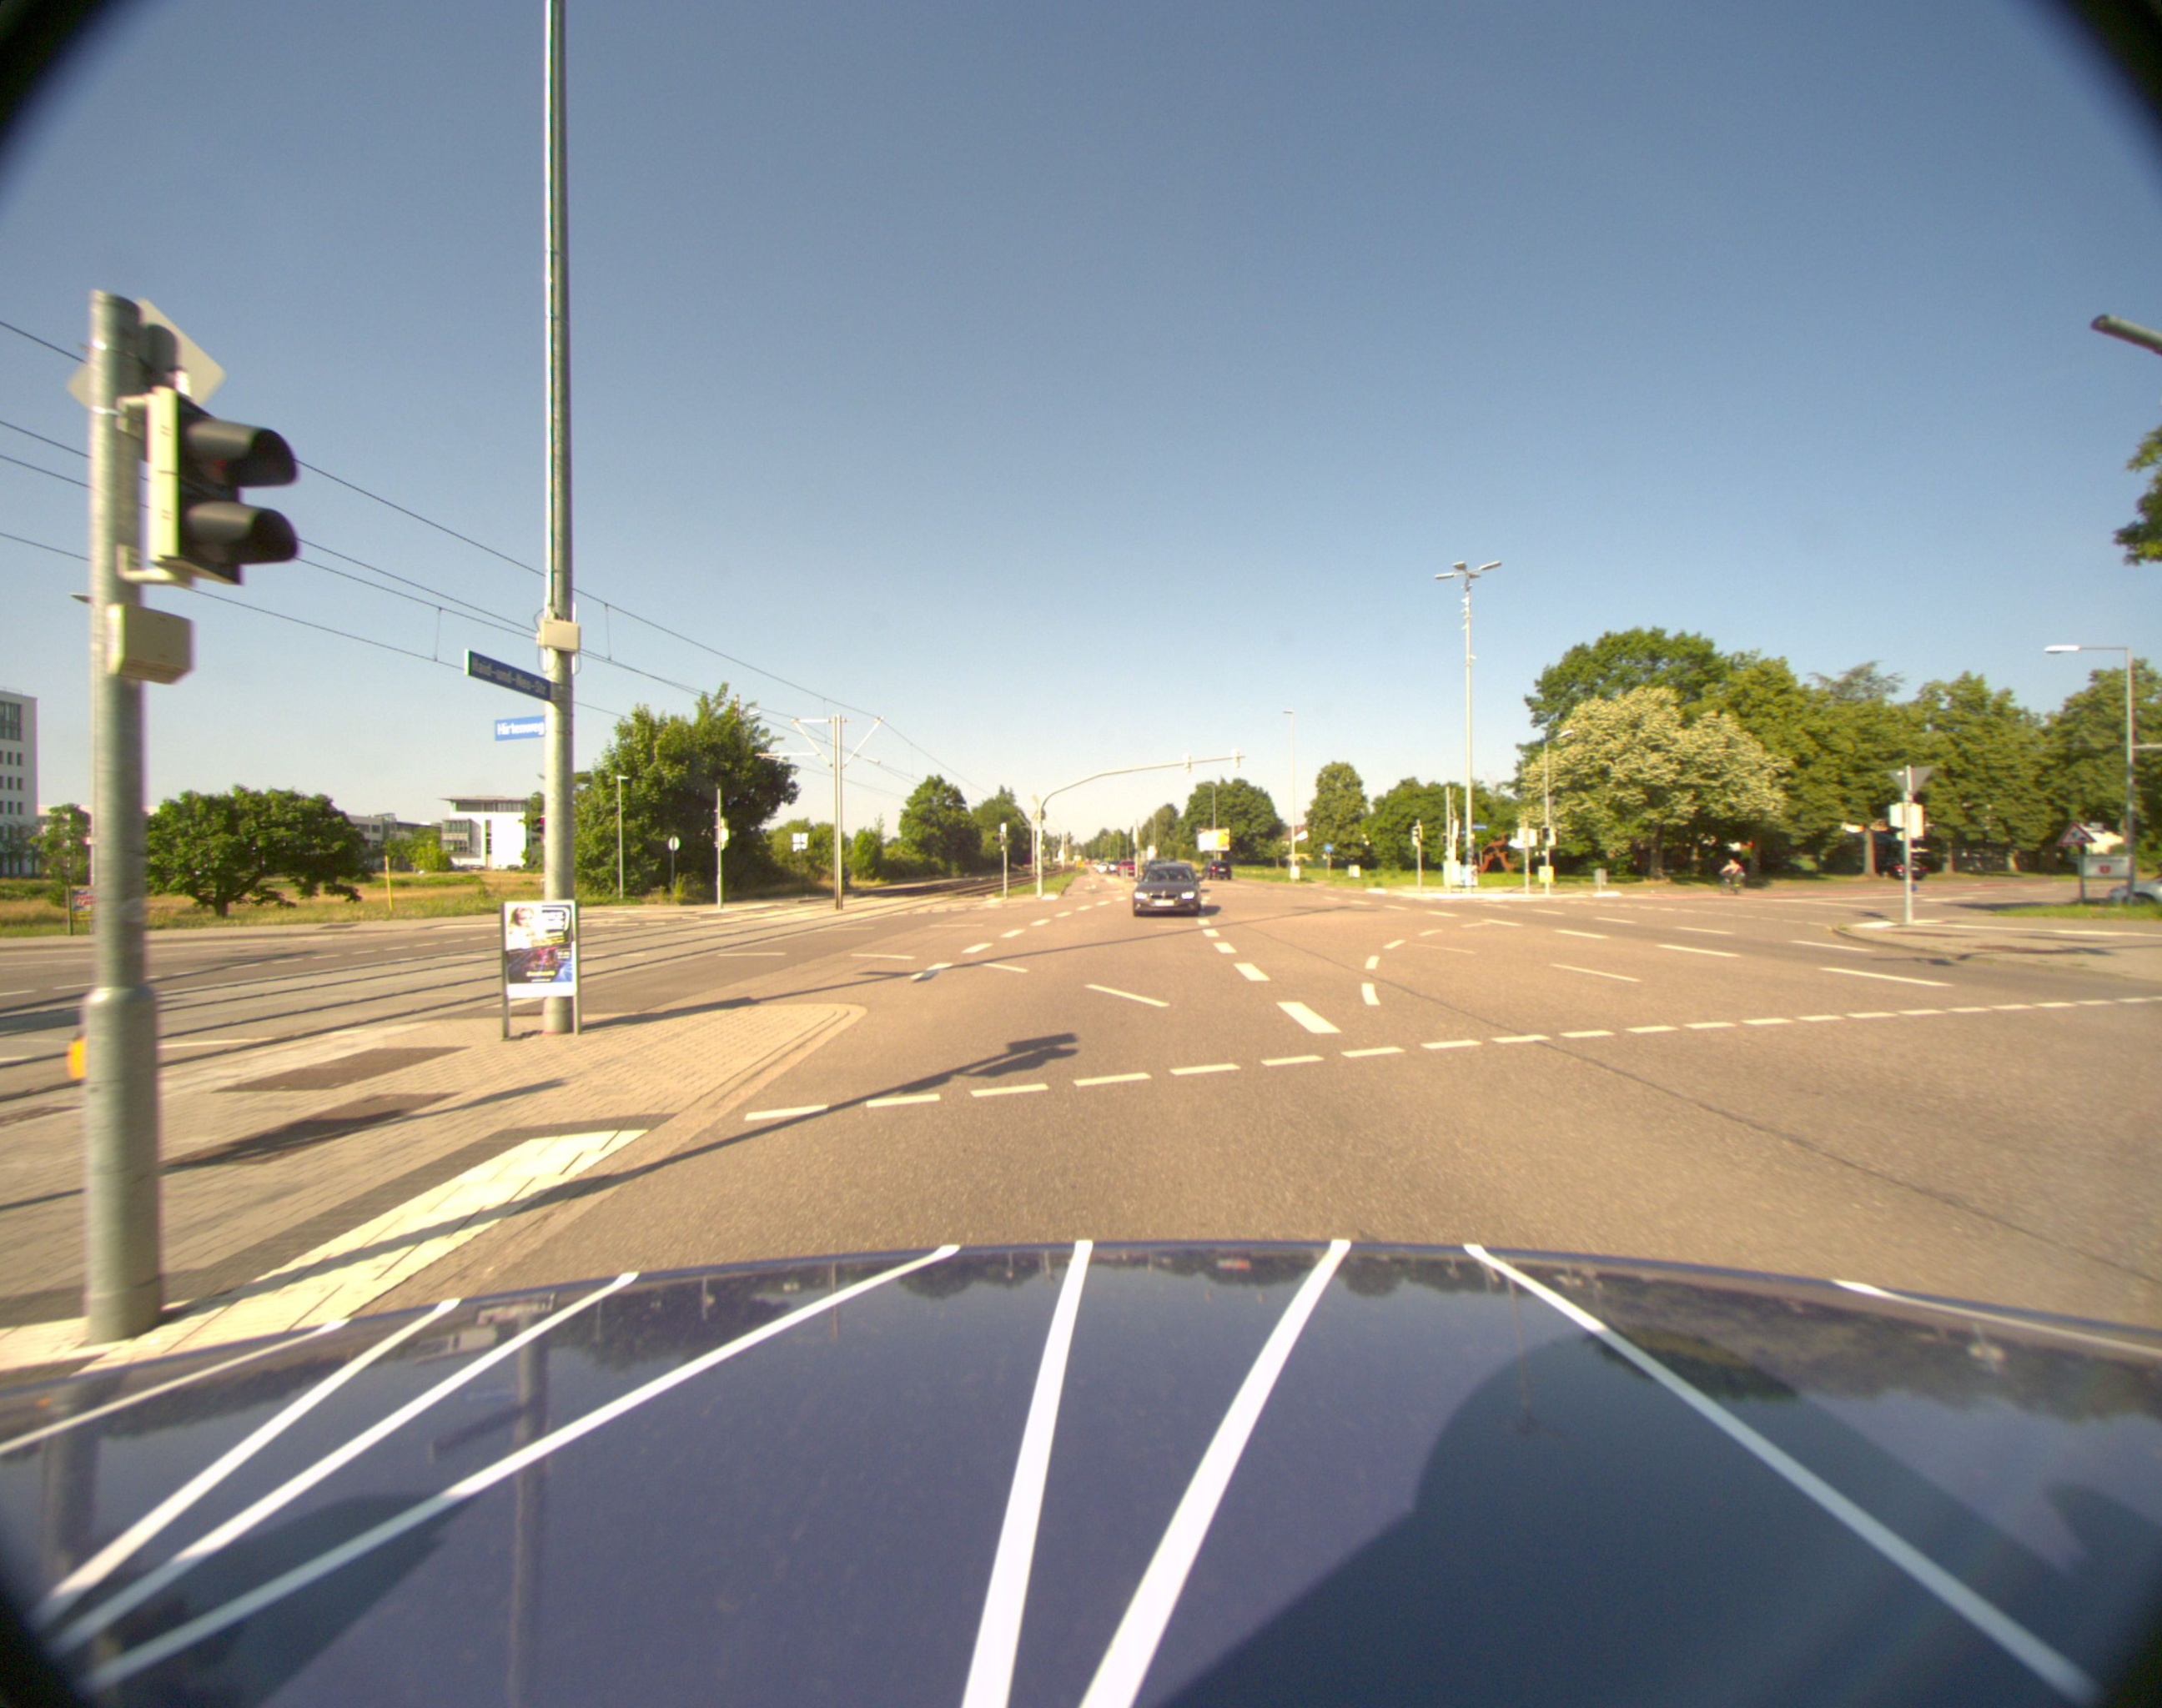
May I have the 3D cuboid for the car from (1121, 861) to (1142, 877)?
[{"bbox_3d":[5.028,1.504,75.858,1.807,1.497,4.197,0,-1,-1],"label":"car"}]

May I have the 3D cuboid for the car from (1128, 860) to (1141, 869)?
[{"bbox_3d":[8.807,1.792,125.814,1.807,1.401,3.872,-1,0,-2],"label":"car"}]

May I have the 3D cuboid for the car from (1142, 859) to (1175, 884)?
[{"bbox_3d":[5.484,1.200,54.345,1.821,1.641,4.611,-2,0,-1],"label":"car"}]

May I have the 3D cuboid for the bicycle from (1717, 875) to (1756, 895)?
[{"bbox_3d":[31.522,1.480,36.546,1.811,0.898,0.653,-1,0,-22],"label":"bicycle"}]

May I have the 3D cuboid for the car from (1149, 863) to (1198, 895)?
[{"bbox_3d":[4.567,1.190,38.154,1.821,1.480,4.611,0,0,-1],"label":"car"}]

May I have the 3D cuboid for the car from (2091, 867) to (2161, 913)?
[{"bbox_3d":[34.752,1.086,23.369,1.786,1.430,3.996,0,-3,-18],"label":"car"}]

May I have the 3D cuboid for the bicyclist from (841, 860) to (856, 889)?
[{"bbox_3d":[-14.358,1.269,46.978,0.708,1.797,0.717,-1,0,0],"label":"bicyclist"}]

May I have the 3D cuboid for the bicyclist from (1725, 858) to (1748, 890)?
[{"bbox_3d":[31.535,0.964,36.561,0.628,1.514,0.617,-1,-1,-26],"label":"bicyclist"}]

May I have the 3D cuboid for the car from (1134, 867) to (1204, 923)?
[{"bbox_3d":[2.656,1.126,22.295,1.819,1.415,4.465,-1,0,9],"label":"car"}]

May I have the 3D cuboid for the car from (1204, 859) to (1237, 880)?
[{"bbox_3d":[11.636,1.253,63.615,1.994,1.649,4.385,0,0,1],"label":"car"}]

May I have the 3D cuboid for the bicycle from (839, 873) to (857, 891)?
[{"bbox_3d":[-14.374,1.709,46.908,0.547,1.041,1.874,-1,0,1],"label":"bicycle"}]

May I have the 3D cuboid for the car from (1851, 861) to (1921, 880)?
[{"bbox_3d":[57.280,1.151,54.148,1.522,1.312,4.778,-1,0,21],"label":"car"}]

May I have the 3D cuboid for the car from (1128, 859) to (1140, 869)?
[{"bbox_3d":[8.746,1.698,124.645,1.749,1.552,4.000,1,0,1],"label":"car"}]

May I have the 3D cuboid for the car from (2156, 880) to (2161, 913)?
[{"bbox_3d":[39.591,1.490,25.509,1.466,1.186,3.781,0,0,-17],"label":"car"}]

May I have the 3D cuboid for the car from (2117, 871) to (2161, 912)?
[{"bbox_3d":[37.662,1.181,24.861,1.786,1.406,3.997,-1,-4,-16],"label":"car"}]
